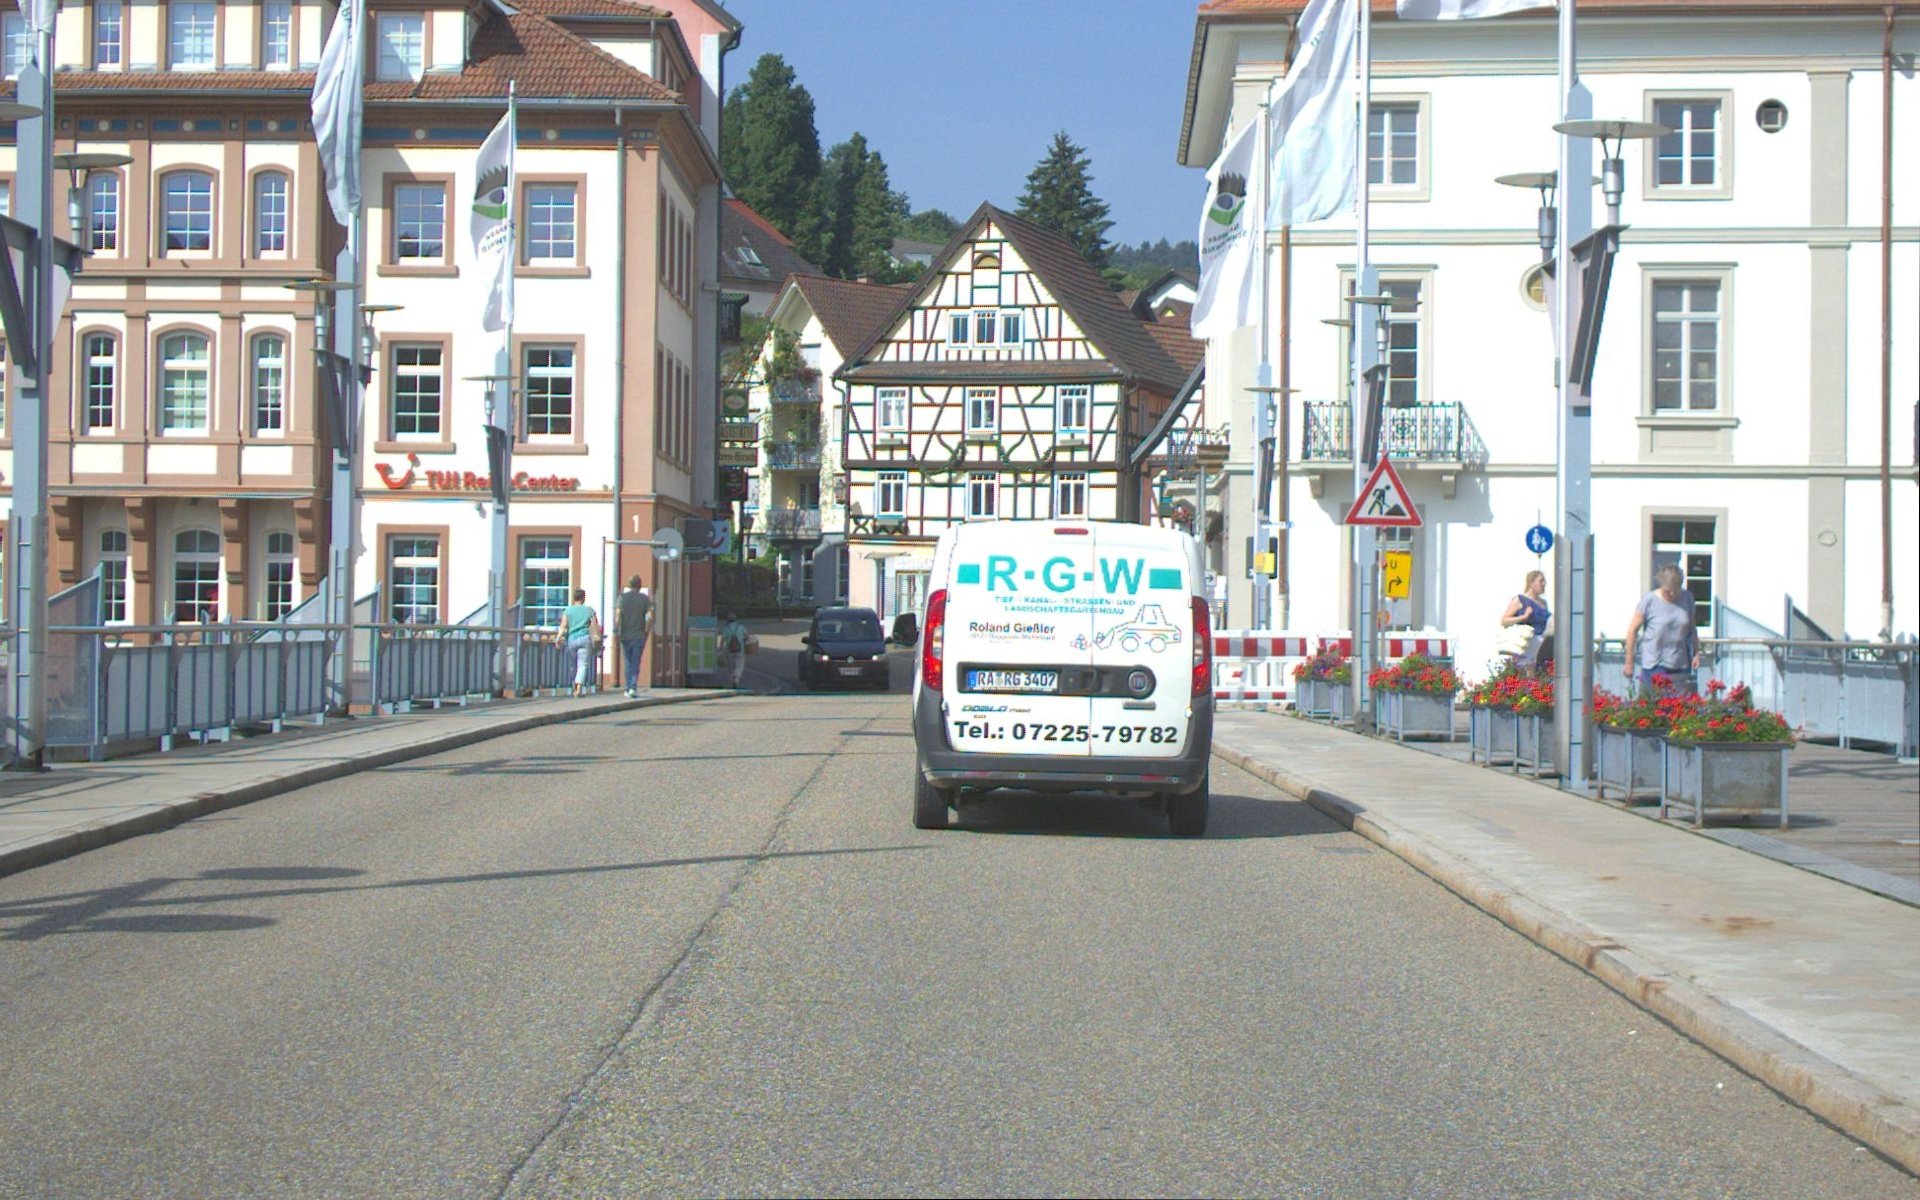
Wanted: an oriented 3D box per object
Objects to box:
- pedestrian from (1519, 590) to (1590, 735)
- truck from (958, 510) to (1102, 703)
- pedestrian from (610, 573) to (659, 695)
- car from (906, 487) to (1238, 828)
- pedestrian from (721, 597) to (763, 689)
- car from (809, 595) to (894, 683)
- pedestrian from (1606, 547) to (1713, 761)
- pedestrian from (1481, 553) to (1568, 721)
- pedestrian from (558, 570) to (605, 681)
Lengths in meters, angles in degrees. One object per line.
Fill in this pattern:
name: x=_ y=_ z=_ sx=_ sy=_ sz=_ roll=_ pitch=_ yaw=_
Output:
pedestrian: x=5.176 y=0.540 z=29.936 sx=0.451 sy=1.240 sz=0.626 roll=1 pitch=-1 yaw=-5
truck: x=0.950 y=0.092 z=48.934 sx=1.861 sy=2.576 sz=4.260 roll=2 pitch=0 yaw=0
pedestrian: x=-4.799 y=0.496 z=50.757 sx=0.614 sy=1.756 sz=0.864 roll=2 pitch=0 yaw=-2
car: x=0.633 y=0.336 z=21.815 sx=1.844 sy=1.900 sz=4.315 roll=2 pitch=0 yaw=0
pedestrian: x=-4.462 y=0.881 z=70.377 sx=0.803 sy=1.851 sz=0.616 roll=1 pitch=1 yaw=-1
car: x=-2.394 y=0.843 z=76.455 sx=1.776 sy=1.786 sz=4.697 roll=2 pitch=1 yaw=-1
pedestrian: x=5.384 y=0.408 z=26.489 sx=0.666 sy=1.613 sz=0.563 roll=1 pitch=0 yaw=0
pedestrian: x=5.885 y=0.377 z=35.855 sx=0.726 sy=1.717 sz=0.747 roll=1 pitch=0 yaw=-1
pedestrian: x=-5.596 y=0.375 z=50.803 sx=0.583 sy=1.604 sz=0.537 roll=2 pitch=0 yaw=1
